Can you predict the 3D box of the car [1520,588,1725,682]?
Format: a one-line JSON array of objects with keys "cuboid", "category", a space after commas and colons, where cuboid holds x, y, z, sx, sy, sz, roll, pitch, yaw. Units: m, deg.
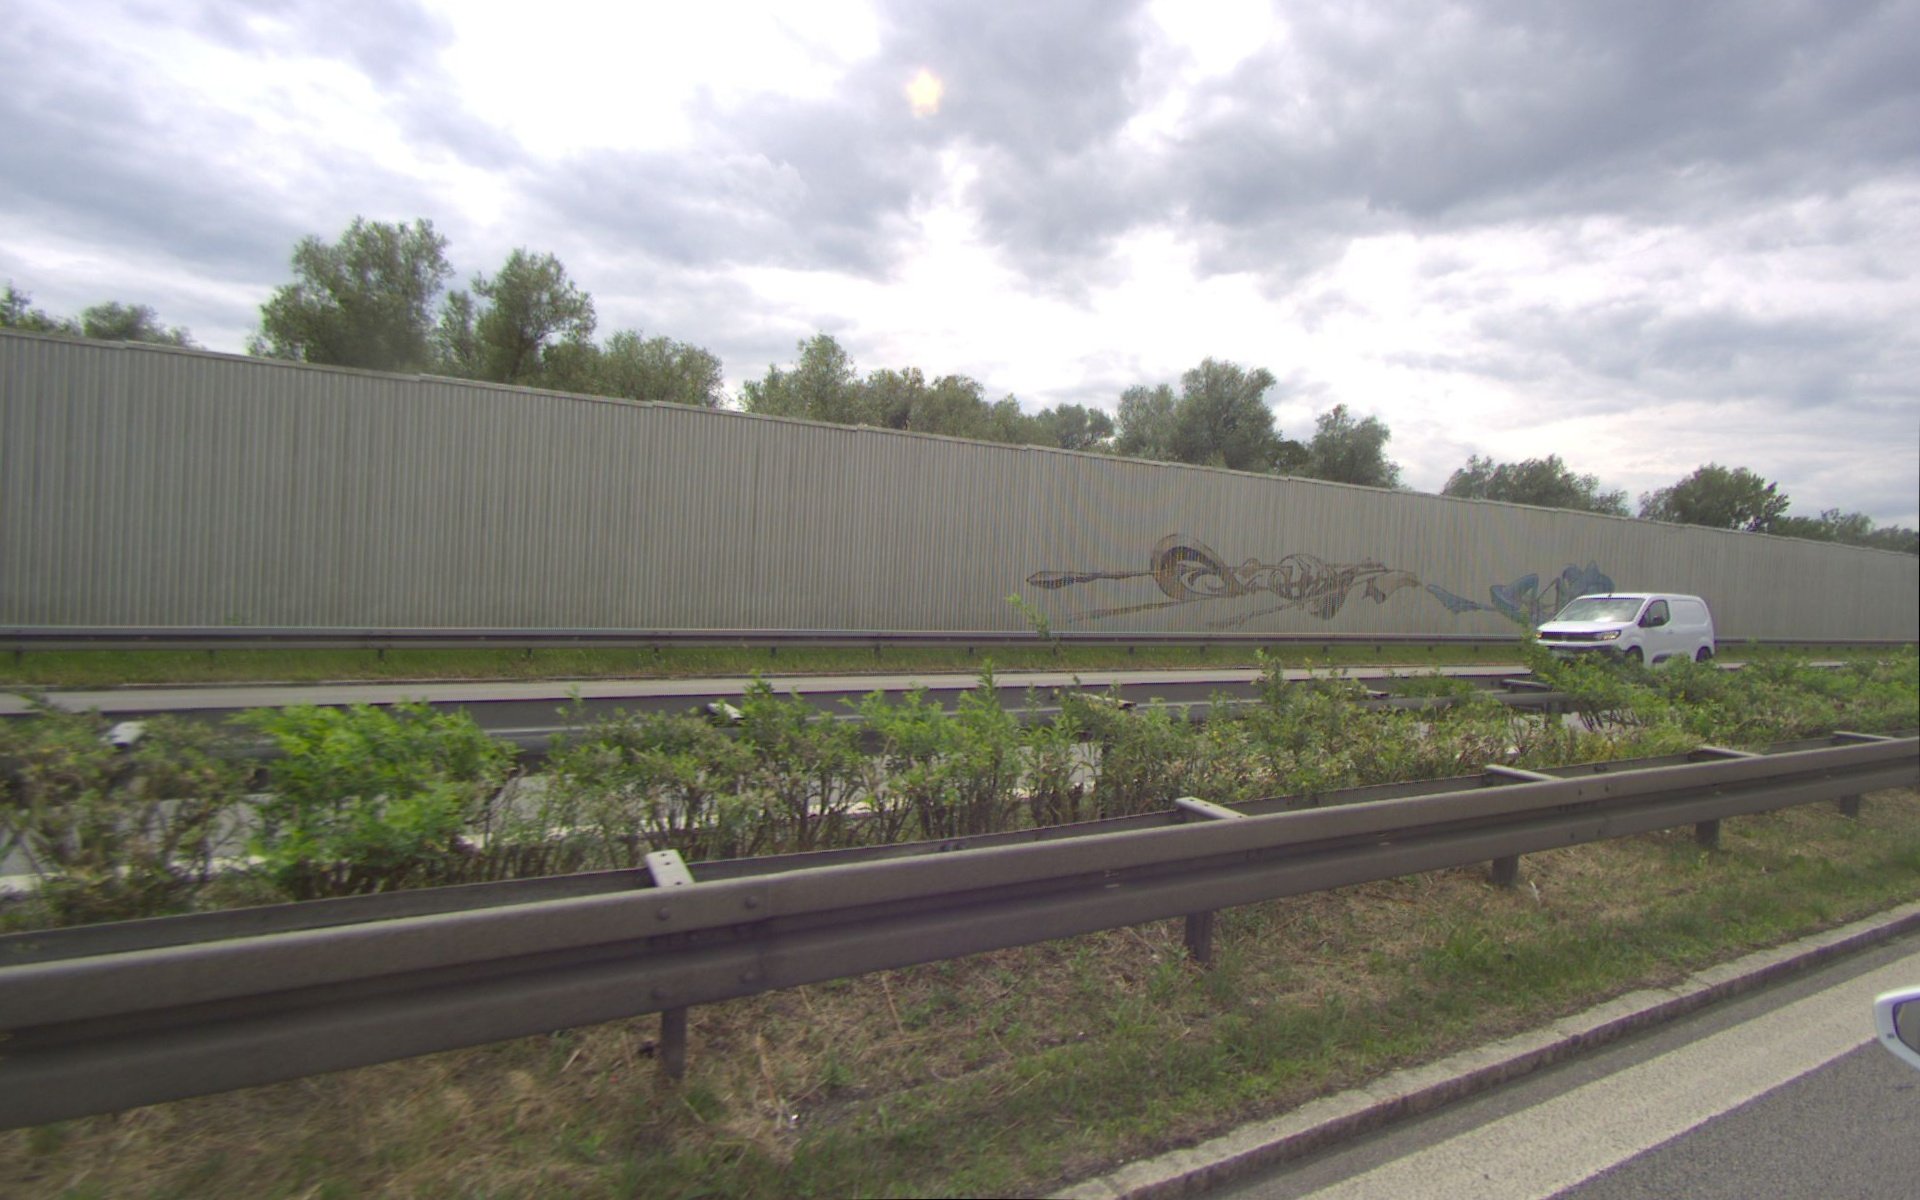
[{"cuboid": [13.734, 0.705, 20.756, 4.574, 1.767, 1.733, 1, -1, -31], "category": "car"}]
